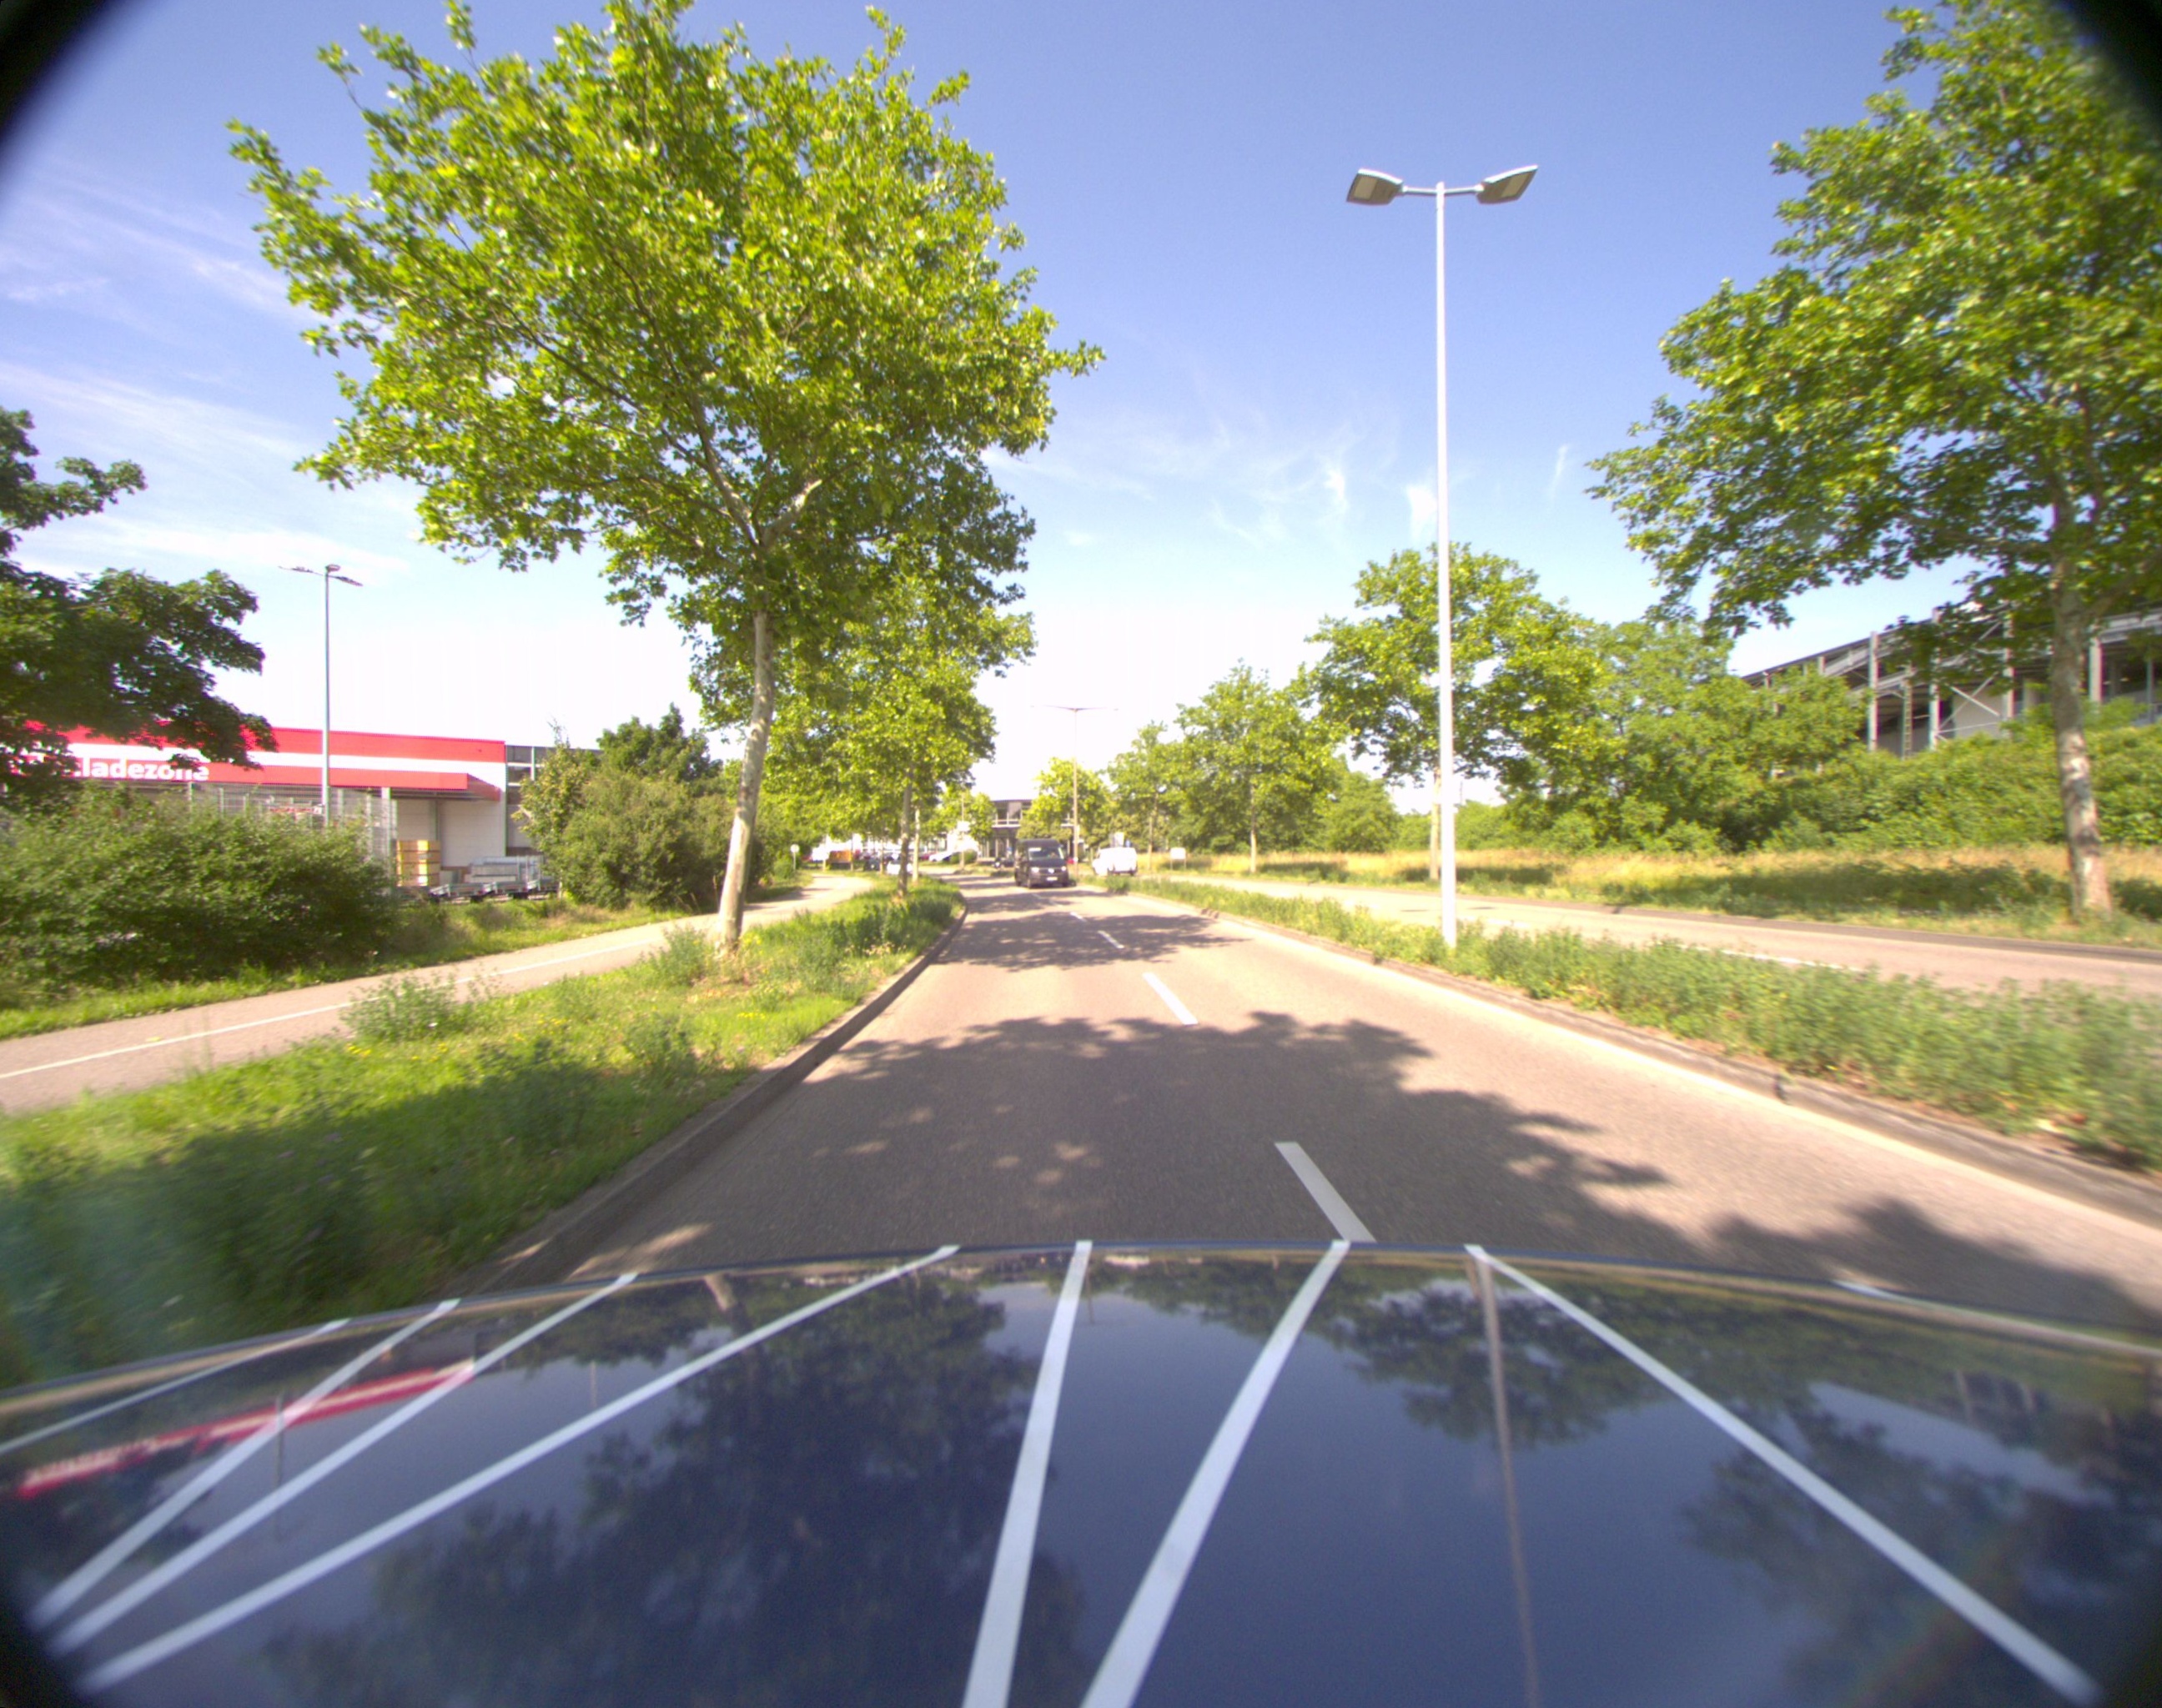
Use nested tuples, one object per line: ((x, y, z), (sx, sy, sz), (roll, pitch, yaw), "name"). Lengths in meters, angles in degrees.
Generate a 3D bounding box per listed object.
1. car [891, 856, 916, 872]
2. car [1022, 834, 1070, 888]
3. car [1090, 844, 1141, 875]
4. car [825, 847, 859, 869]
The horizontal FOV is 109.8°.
((-18.177, 0.984, 77.702), (1.827, 1.512, 4.200), (-2, 1, -23), "car")
((-1.932, 0.345, 39.982), (2.022, 2.592, 6.164), (-2, 0, -6), "car")
((2.386, 0.383, 53.197), (2.002, 2.002, 4.509), (-2, 0, -19), "car")
((-40.174, 0.677, 127.747), (2.792, 3.412, 5.994), (-4, 1, -45), "car")
